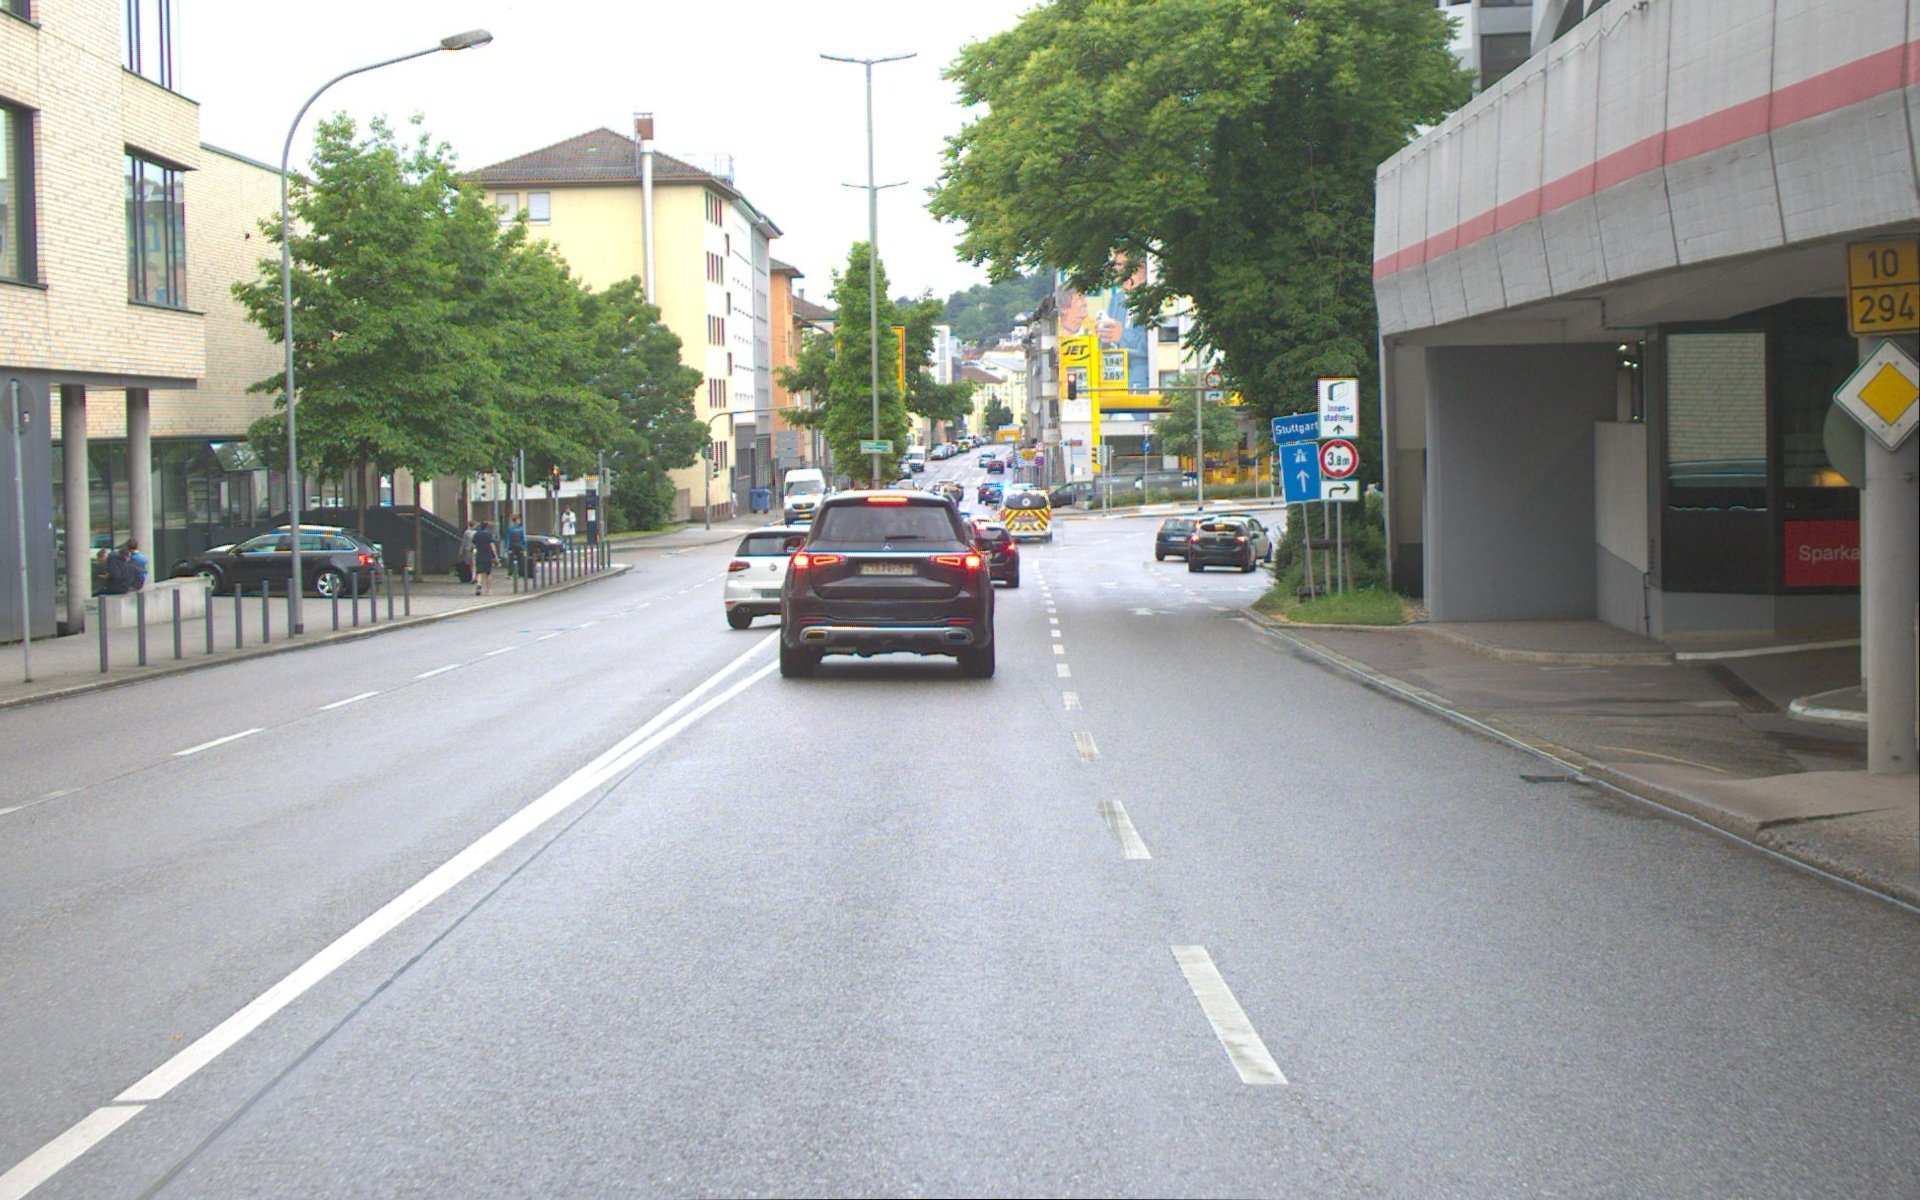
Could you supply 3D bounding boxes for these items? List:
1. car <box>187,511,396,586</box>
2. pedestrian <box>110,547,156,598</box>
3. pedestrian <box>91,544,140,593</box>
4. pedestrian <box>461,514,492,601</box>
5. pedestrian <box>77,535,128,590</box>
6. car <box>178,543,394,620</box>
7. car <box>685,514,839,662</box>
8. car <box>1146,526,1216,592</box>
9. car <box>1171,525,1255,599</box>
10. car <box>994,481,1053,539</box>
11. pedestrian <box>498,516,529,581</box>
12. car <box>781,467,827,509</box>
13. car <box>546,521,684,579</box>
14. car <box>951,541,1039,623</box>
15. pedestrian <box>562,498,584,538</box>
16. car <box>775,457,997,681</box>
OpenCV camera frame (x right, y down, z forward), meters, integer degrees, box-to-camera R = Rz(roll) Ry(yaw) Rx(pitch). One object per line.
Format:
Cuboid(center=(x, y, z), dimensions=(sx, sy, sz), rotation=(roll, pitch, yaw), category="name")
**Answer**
Cuboid(center=(-15.109, -1.180, 77.883), dimensions=(4.415, 1.568, 2.001), rotation=(1, 3, -4), category="car")
Cuboid(center=(-13.824, -0.463, 57.490), dimensions=(0.586, 0.842, 0.727), rotation=(0, 0, 1), category="pedestrian")
Cuboid(center=(-13.894, -0.518, 56.589), dimensions=(0.598, 0.783, 0.760), rotation=(1, 1, 1), category="pedestrian")
Cuboid(center=(-11.340, -0.997, 80.663), dimensions=(0.588, 2.007, 0.749), rotation=(1, 0, -1), category="pedestrian")
Cuboid(center=(-14.100, -0.620, 56.523), dimensions=(0.681, 0.883, 0.524), rotation=(1, 0, 1), category="pedestrian")
Cuboid(center=(-14.796, -0.421, 75.689), dimensions=(4.467, 1.581, 2.000), rotation=(-1, 1, -5), category="car")
Cuboid(center=(-2.830, -0.186, 49.808), dimensions=(1.993, 2.007, 4.000), rotation=(1, 1, -1), category="car")
Cuboid(center=(7.009, -1.310, 109.260), dimensions=(1.993, 2.007, 4.000), rotation=(1, 1, 1), category="car")
Cuboid(center=(7.109, -1.102, 96.972), dimensions=(1.993, 2.006, 4.001), rotation=(0, 2, -1), category="car")
Cuboid(center=(2.279, -3.226, 124.277), dimensions=(1.993, 2.007, 4.000), rotation=(1, 1, -1), category="car")
Cuboid(center=(-12.219, -1.407, 94.094), dimensions=(0.688, 1.720, 0.754), rotation=(1, -2, 0), category="pedestrian")
Cuboid(center=(-7.490, -5.382, 165.515), dimensions=(1.993, 1.868, 5.142), rotation=(1, 1, -1), category="car")
Cuboid(center=(-12.267, -1.772, 122.177), dimensions=(4.804, 2.006, 2.001), rotation=(0, 2, -7), category="car")
Cuboid(center=(0.745, -0.401, 74.785), dimensions=(1.703, 1.710, 3.444), rotation=(1, 1, -2), category="car")
Cuboid(center=(-14.459, -3.070, 128.432), dimensions=(0.711, 1.457, 0.598), rotation=(1, 0, 0), category="pedestrian")
Cuboid(center=(-0.693, -0.307, 33.553), dimensions=(1.993, 2.007, 4.000), rotation=(1, 1, -1), category="car")
